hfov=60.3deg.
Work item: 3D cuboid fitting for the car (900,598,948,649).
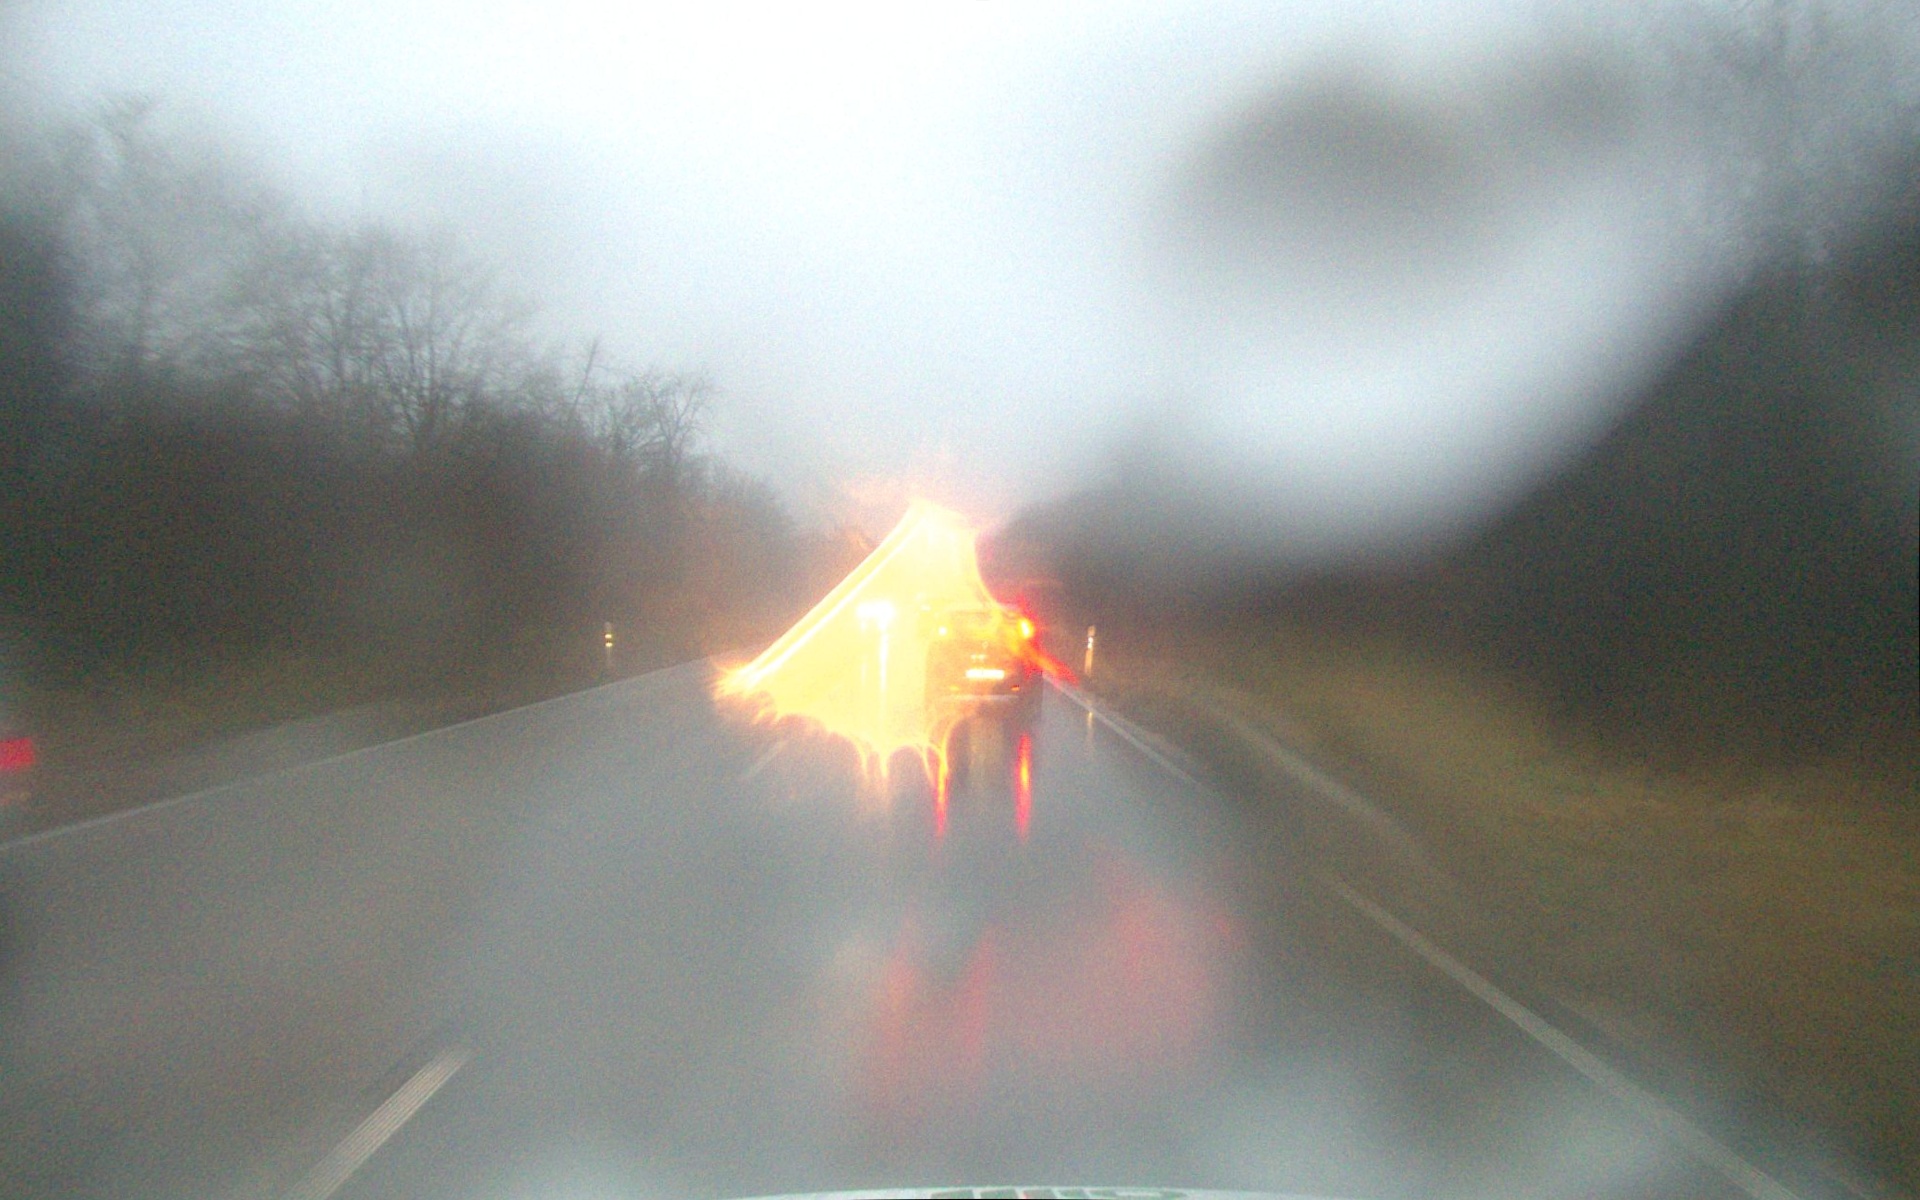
[{"bbox_3d":[-1.346,0.872,62.041,1.698,1.810,3.999,1,0,-1],"label":"car"}]

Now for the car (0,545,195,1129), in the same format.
[{"bbox_3d":[-3.374,0.623,3.025,1.699,1.561,4.958,1,0,-1],"label":"car"}]

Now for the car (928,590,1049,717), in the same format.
[{"bbox_3d":[0.355,0.734,24.164,1.614,1.701,3.513,1,0,-1],"label":"car"}]
